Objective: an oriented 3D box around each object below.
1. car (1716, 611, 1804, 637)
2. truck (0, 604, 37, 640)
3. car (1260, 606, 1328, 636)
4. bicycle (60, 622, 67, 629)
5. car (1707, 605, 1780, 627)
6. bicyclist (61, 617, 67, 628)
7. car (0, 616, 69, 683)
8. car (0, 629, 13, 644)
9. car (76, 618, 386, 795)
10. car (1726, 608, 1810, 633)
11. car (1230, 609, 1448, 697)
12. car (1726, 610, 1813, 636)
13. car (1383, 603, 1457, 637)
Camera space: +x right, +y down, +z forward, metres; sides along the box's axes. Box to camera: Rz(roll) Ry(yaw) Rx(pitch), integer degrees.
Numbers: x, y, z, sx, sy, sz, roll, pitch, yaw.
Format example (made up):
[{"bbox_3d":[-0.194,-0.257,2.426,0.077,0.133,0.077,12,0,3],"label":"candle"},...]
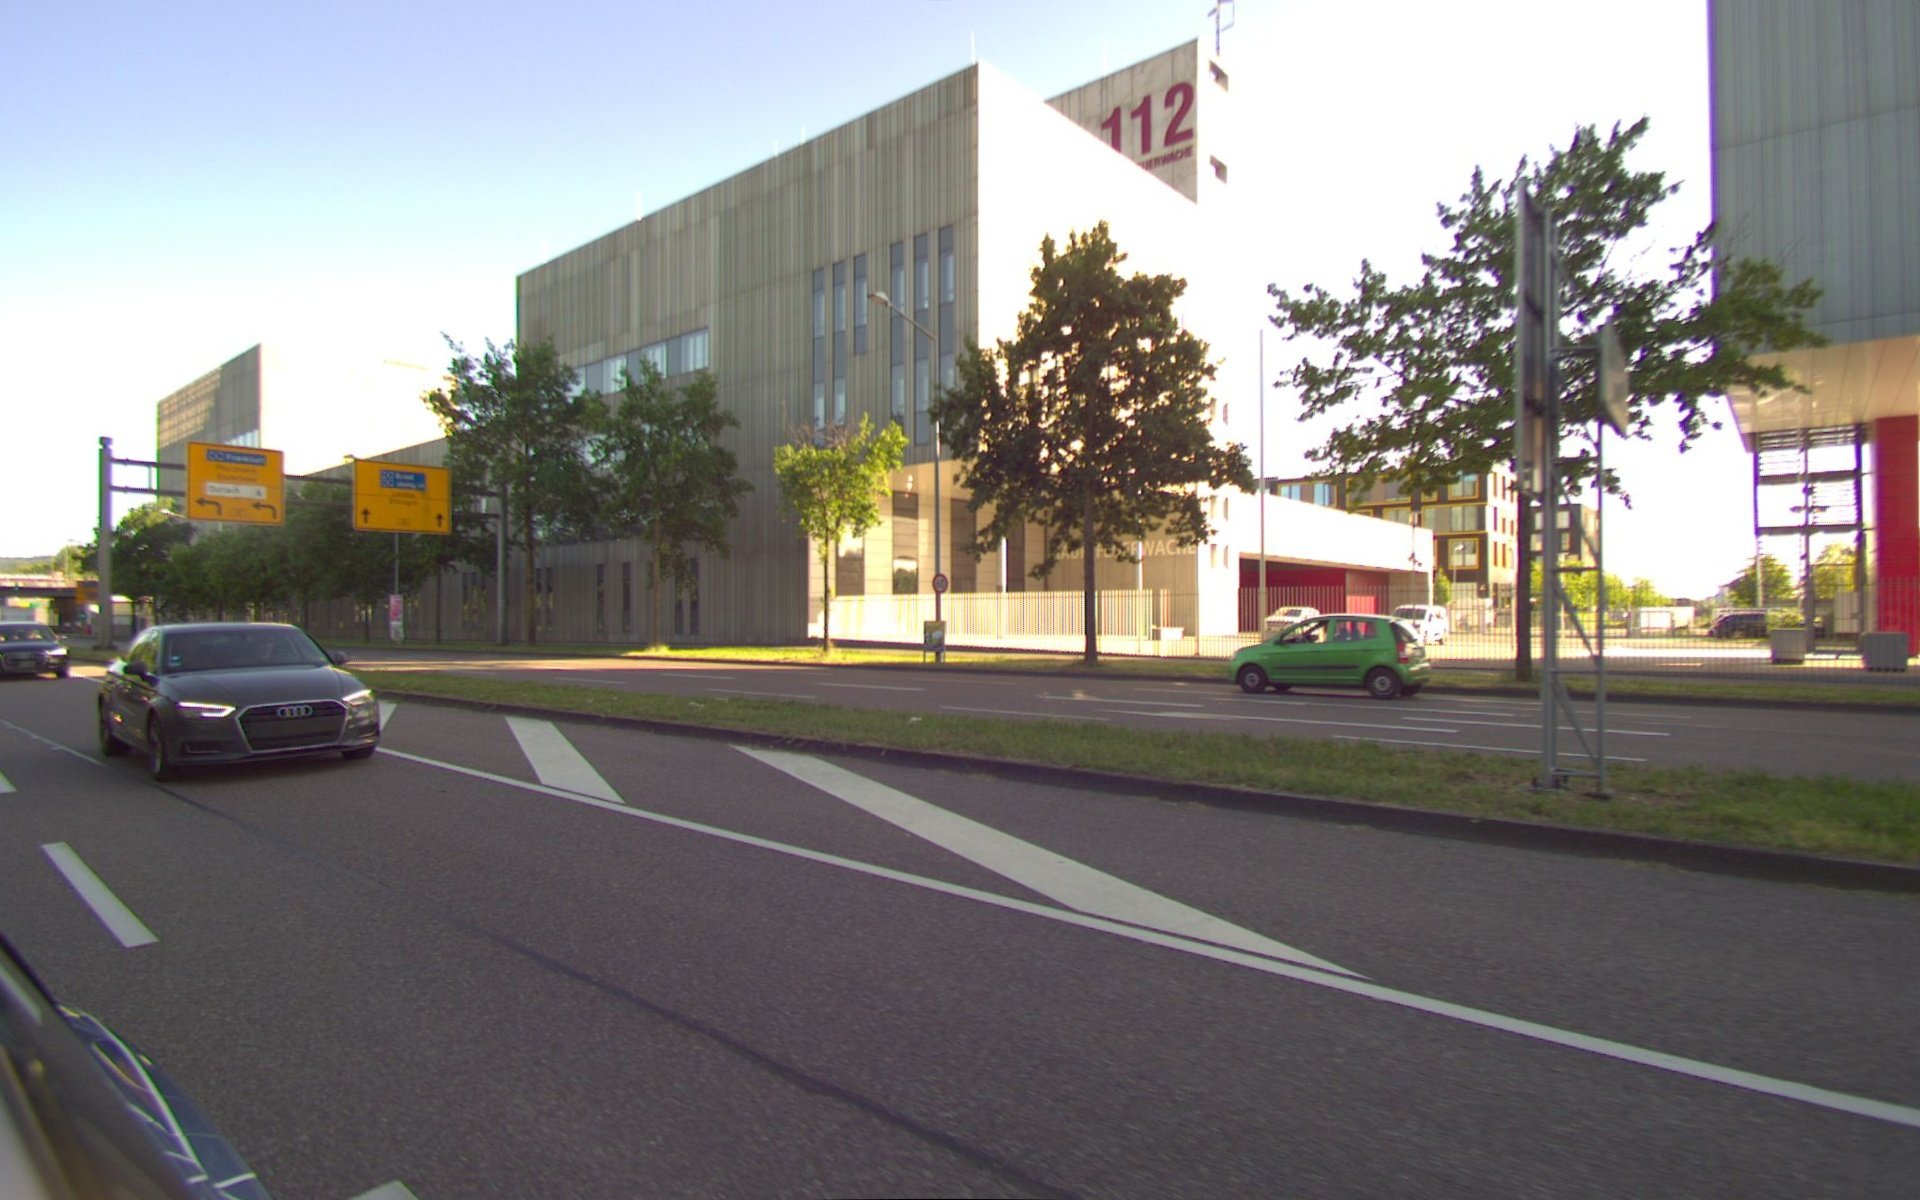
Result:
[{"bbox_3d":[39.946,1.183,50.564,3.381,1.268,1.349,-1,-1,40],"label":"car"},{"bbox_3d":[-83.094,1.967,88.502,7.111,2.983,2.658,-1,-3,41],"label":"truck"},{"bbox_3d":[17.050,1.042,51.532,1.762,1.464,4.211,-1,-1,42],"label":"car"},{"bbox_3d":[-125.414,3.568,141.571,1.753,0.897,0.507,-2,-2,40],"label":"bicycle"},{"bbox_3d":[46.477,0.942,60.066,3.381,1.268,1.349,-1,-1,40],"label":"car"},{"bbox_3d":[-125.381,3.169,141.548,0.752,1.453,0.502,-2,-2,40],"label":"bicyclist"},{"bbox_3d":[-24.110,1.215,25.692,3.944,1.549,1.680,-1,0,40],"label":"car"},{"bbox_3d":[-90.992,3.449,95.529,3.997,1.435,1.816,-2,-3,40],"label":"car"},{"bbox_3d":[-7.651,0.921,10.447,4.363,1.414,1.680,-1,0,42],"label":"car"},{"bbox_3d":[42.481,1.083,53.248,3.381,1.268,1.349,-1,-1,40],"label":"car"},{"bbox_3d":[6.864,0.920,18.472,3.456,1.447,1.432,-1,-1,39],"label":"car"},{"bbox_3d":[41.163,1.151,51.510,3.381,1.268,1.349,-1,-1,40],"label":"car"},{"bbox_3d":[21.488,0.911,47.229,1.935,1.514,4.341,-1,-1,42],"label":"car"}]
